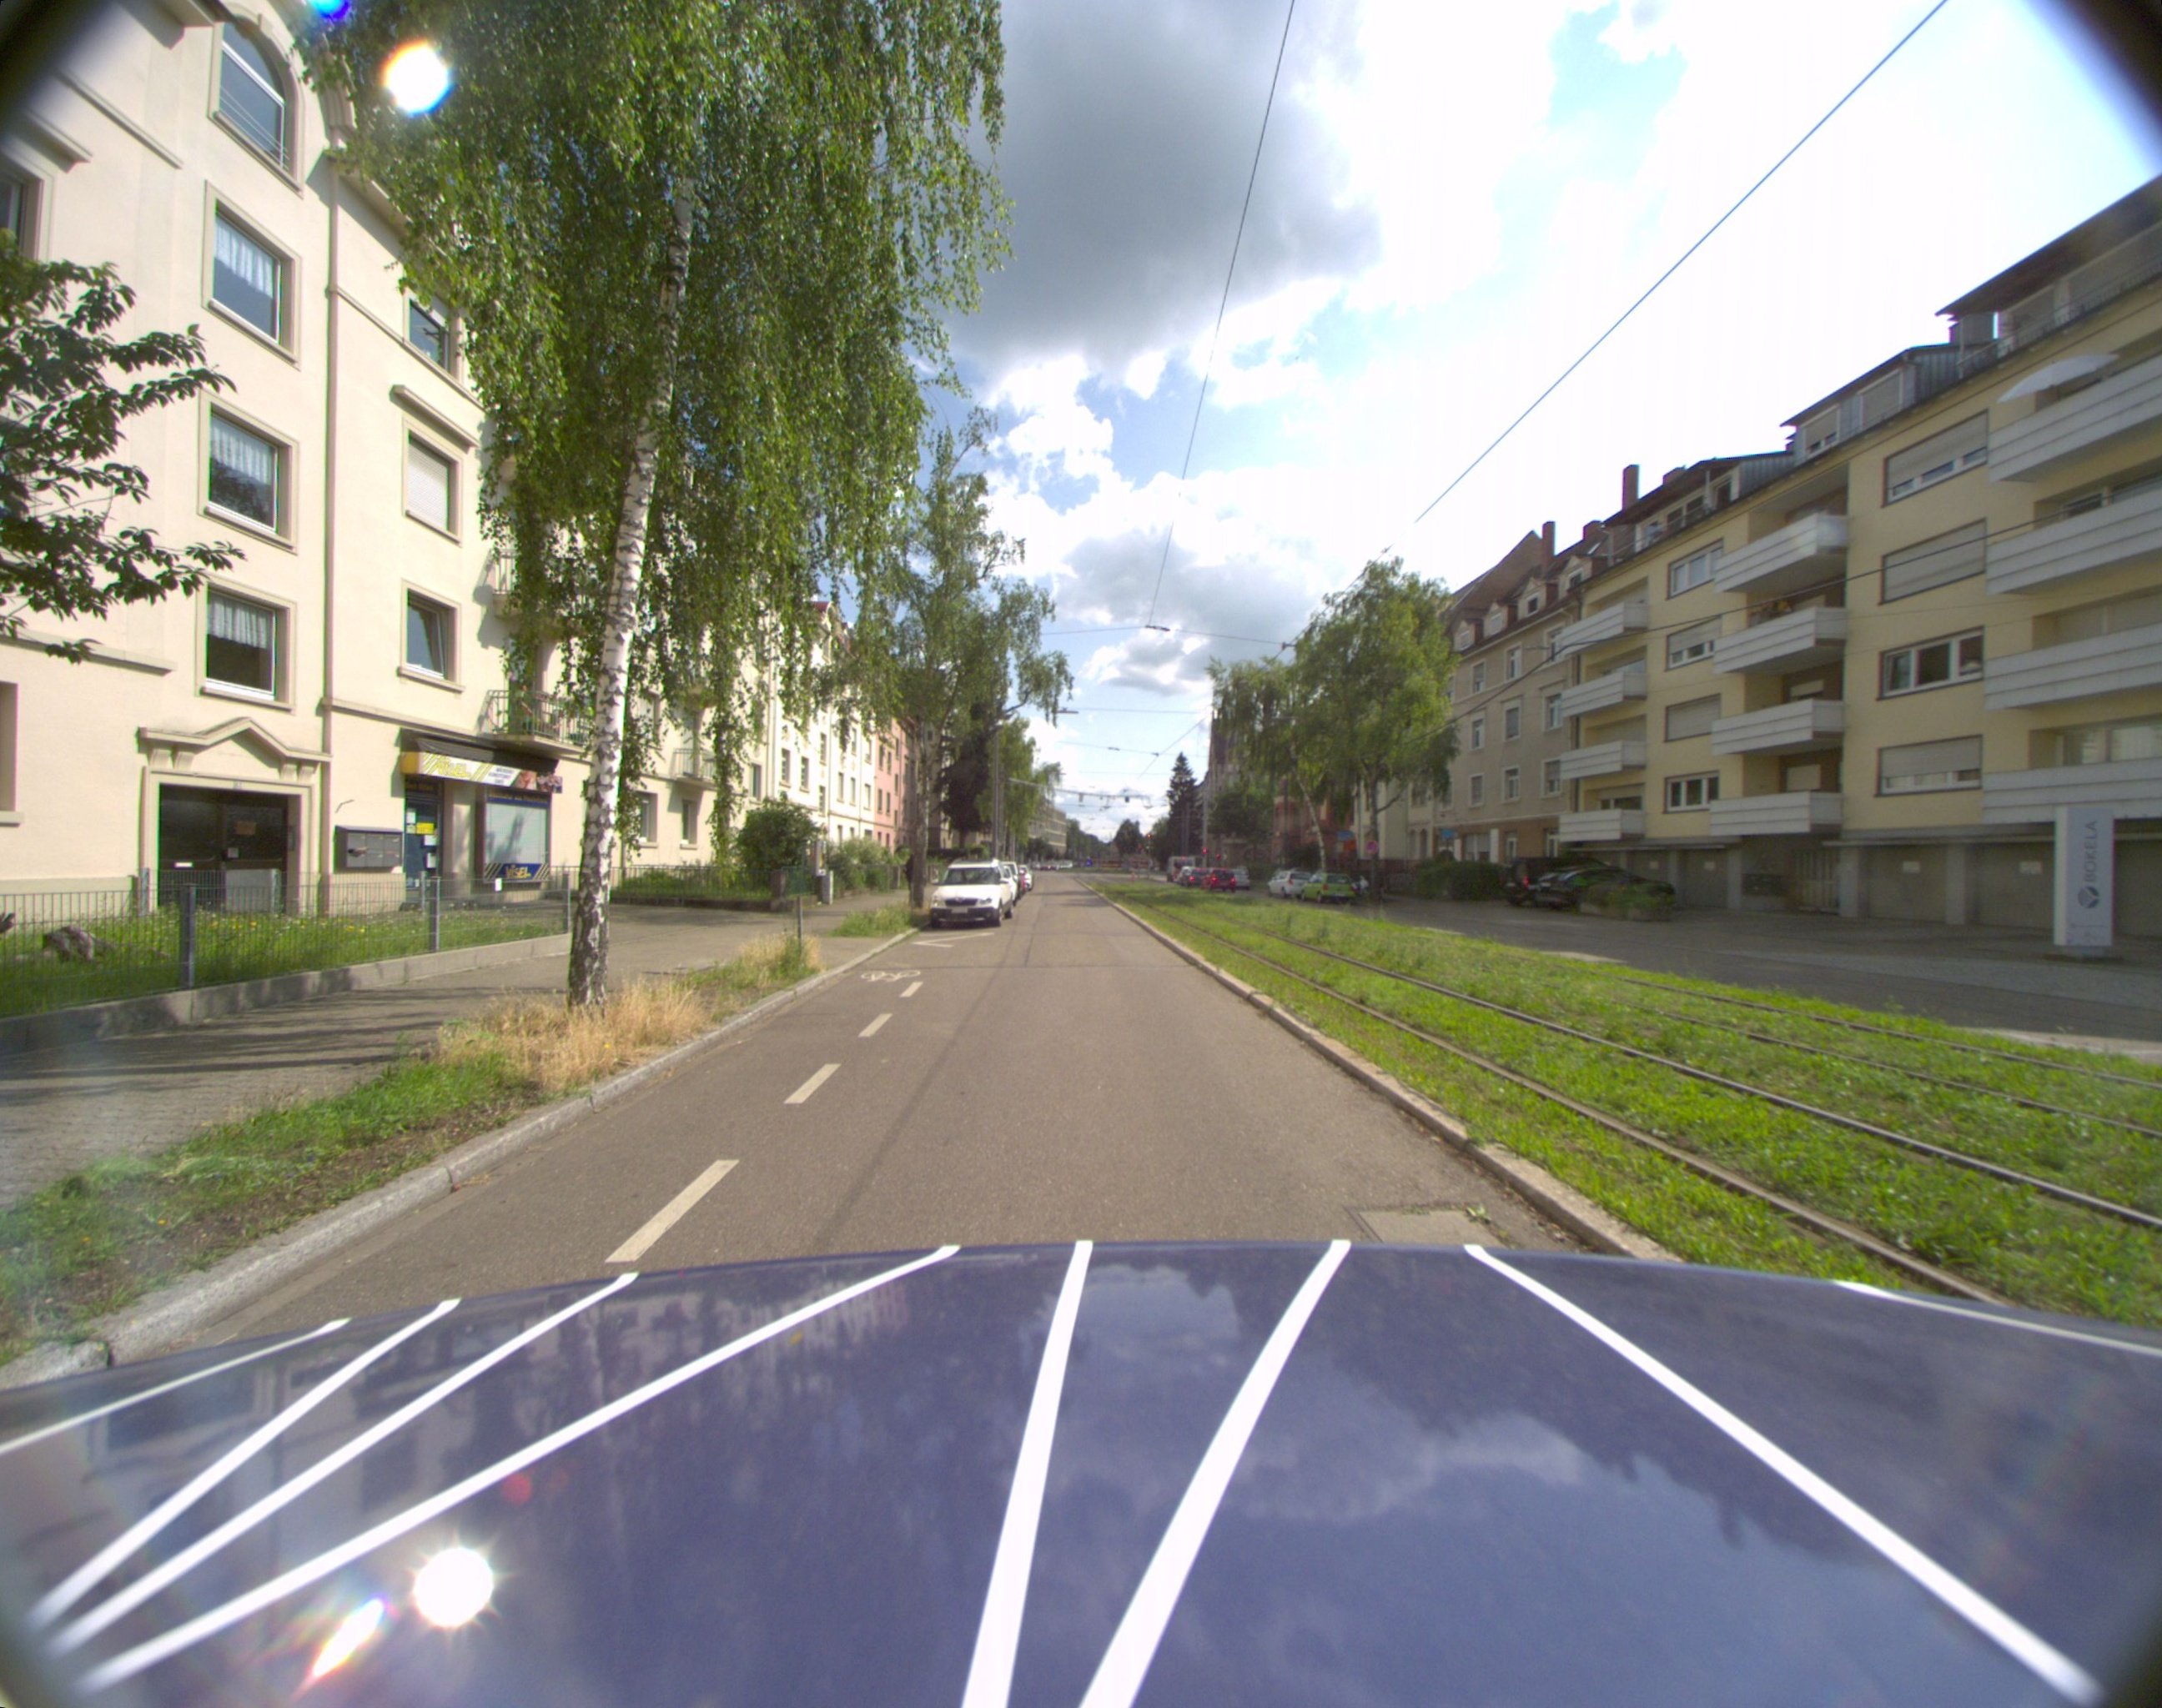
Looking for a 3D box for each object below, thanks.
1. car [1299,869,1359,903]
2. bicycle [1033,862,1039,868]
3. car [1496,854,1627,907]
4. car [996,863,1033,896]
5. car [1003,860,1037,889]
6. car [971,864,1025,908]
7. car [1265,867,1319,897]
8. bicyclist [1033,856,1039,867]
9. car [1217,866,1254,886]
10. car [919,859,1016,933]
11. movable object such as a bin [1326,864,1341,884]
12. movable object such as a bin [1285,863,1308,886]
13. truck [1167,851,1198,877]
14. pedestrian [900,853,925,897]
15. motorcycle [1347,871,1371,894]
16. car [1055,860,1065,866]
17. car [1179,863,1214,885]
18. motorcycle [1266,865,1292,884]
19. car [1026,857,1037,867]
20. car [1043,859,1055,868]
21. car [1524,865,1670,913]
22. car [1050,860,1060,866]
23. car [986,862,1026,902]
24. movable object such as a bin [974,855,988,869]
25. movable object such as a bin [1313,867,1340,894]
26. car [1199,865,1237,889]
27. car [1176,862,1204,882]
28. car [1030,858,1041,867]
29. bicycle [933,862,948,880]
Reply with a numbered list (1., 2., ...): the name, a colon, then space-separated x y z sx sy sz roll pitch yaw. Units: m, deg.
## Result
1. car: 11.739 1.479 36.220 1.598 1.423 3.614 2 0 -1
2. bicycle: -7.101 1.694 119.880 0.771 0.885 1.892 1 0 4
3. car: 19.086 1.017 30.307 3.996 2.002 1.937 -1 0 2
4. car: -3.278 1.226 37.957 1.593 1.444 3.843 -3 0 -2
5. car: -3.342 1.131 42.307 1.624 1.444 3.917 -3 0 -2
6. car: -2.979 1.127 27.942 1.677 1.408 3.794 -2 0 -3
7. car: 11.443 1.495 41.504 1.649 1.469 4.225 3 0 -1
8. bicyclist: -7.088 1.239 119.896 0.665 1.679 0.857 2 0 4
9. car: 11.065 1.556 54.660 1.759 1.348 3.995 2 0 0
10. car: -2.714 0.951 19.002 1.725 1.620 4.000 -1 0 1
11. movable object such as a bin: 16.963 1.335 51.044 0.675 1.354 0.699 1 0 -5
12. movable object such as a bin: 13.906 1.320 49.099 0.953 1.359 1.521 -4 0 -2
13. truck: 9.339 0.887 70.580 2.190 2.201 6.613 2 0 3
14. pedestrian: -6.611 0.818 29.771 0.731 1.673 0.691 3 0 1
15. motorcycle: 13.939 1.424 38.164 0.500 1.036 1.632 -2 1 -2
16. car: -4.178 1.769 150.702 1.620 1.265 4.001 0 0 2
17. car: 8.273 1.384 54.571 1.759 1.348 4.512 3 0 0
18. motorcycle: 13.515 1.391 51.922 0.903 1.235 2.293 1 0 -8
19. car: -8.965 1.460 137.598 1.999 1.730 3.999 1 0 -3
20. car: -5.444 1.606 128.344 1.741 1.313 4.000 -1 0 2
21. car: 18.700 1.238 27.658 3.998 1.593 1.972 -1 0 -2
22. car: -4.839 1.701 143.678 1.620 1.265 4.001 0 0 2
23. car: -3.171 1.149 32.590 1.497 1.570 3.758 -1 0 -3
24. movable object such as a bin: -11.052 0.863 84.168 1.305 1.483 2.000 1 0 -1
25. movable object such as a bin: 13.776 1.470 42.608 0.953 1.421 1.521 -1 0 -2
26. car: 8.528 1.415 47.449 1.583 1.378 3.692 2 0 -1
27. car: 8.756 1.450 61.082 1.759 1.406 4.134 3 0 2
28. car: -8.734 1.630 145.938 1.836 1.674 3.999 1 0 -2
29. bicycle: -8.352 1.005 45.286 0.472 1.071 2.183 1 0 0
